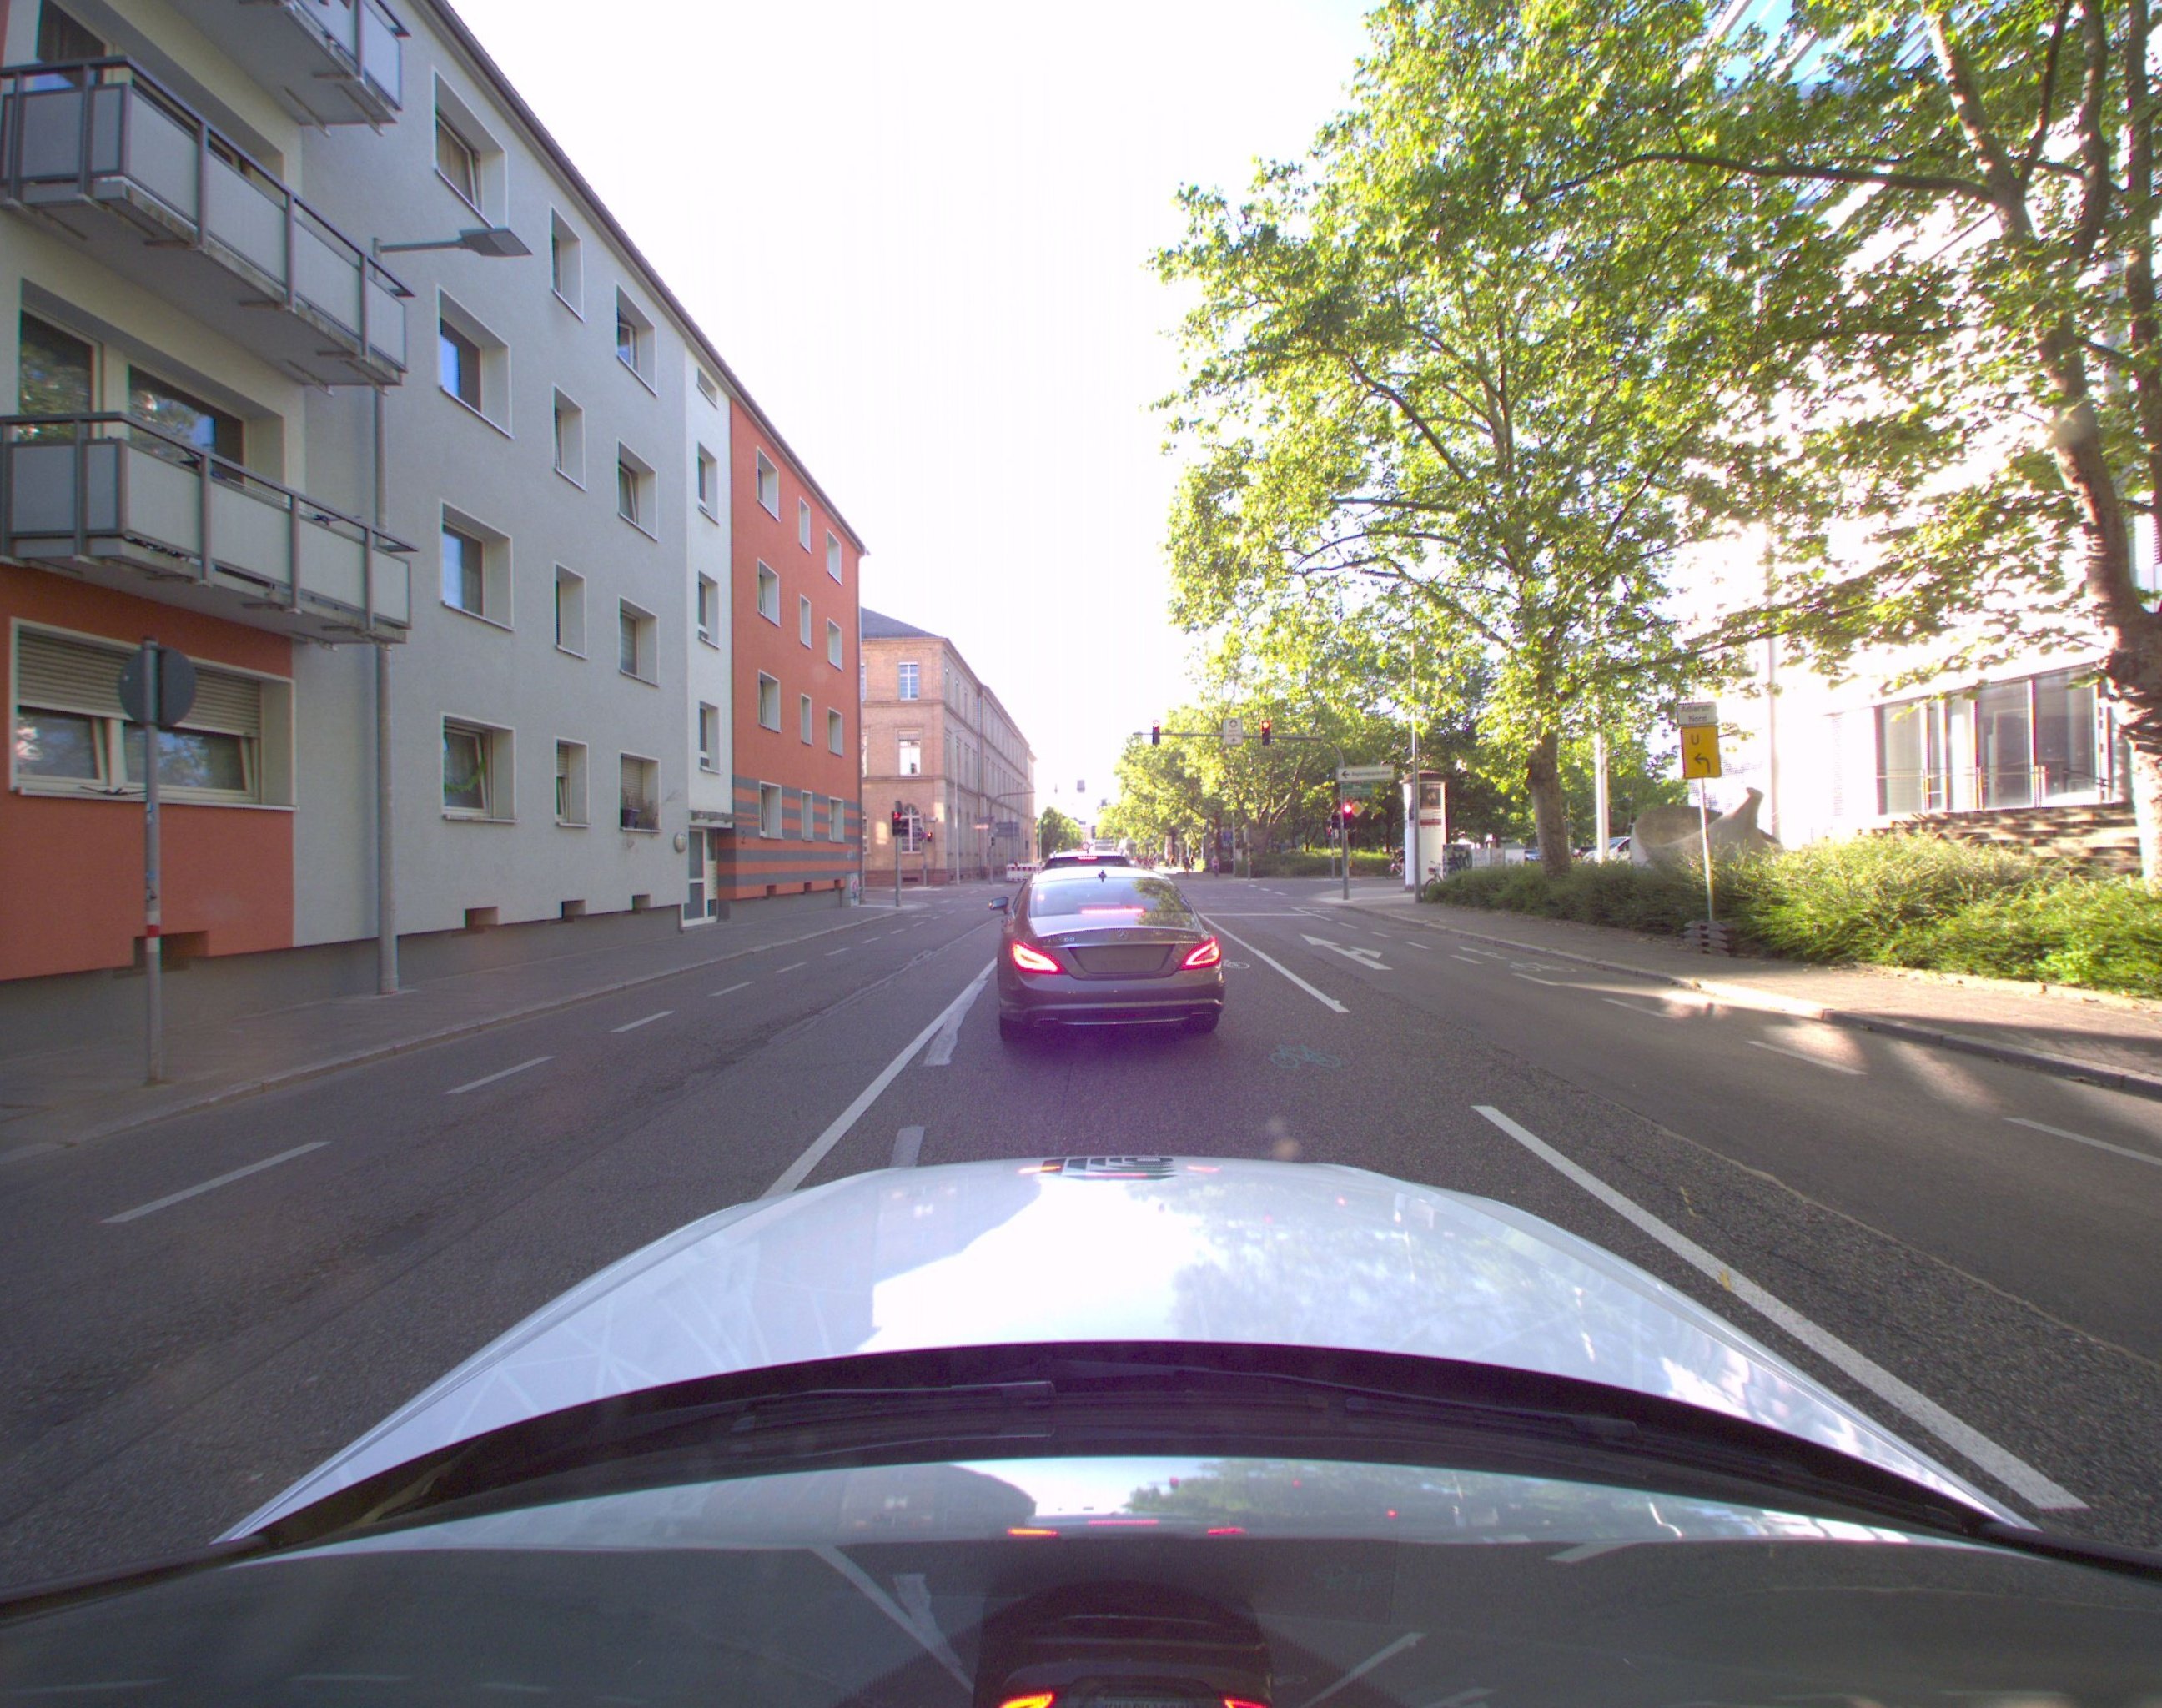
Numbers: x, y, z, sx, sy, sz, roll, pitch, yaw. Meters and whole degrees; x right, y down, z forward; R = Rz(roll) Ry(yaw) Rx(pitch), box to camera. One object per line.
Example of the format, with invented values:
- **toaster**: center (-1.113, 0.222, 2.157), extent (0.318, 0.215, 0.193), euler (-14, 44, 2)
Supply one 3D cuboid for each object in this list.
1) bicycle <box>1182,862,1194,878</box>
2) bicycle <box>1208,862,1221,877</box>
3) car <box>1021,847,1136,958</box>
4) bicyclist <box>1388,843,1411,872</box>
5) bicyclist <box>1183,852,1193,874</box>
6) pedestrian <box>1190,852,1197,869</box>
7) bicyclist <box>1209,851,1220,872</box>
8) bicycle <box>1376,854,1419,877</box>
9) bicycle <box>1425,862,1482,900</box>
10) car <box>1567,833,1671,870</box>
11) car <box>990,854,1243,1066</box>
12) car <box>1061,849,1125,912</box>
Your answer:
- **bicycle**: center (7.442, 1.110, 56.631), extent (0.608, 1.026, 1.732), euler (0, 0, 2)
- **bicycle**: center (9.258, 1.045, 56.461), extent (0.598, 0.985, 1.882), euler (1, 0, 2)
- **car**: center (-0.017, 0.729, 14.033), extent (1.676, 1.625, 3.841), euler (-1, 0, 0)
- **bicyclist**: center (17.458, 0.206, 44.675), extent (0.813, 1.553, 0.883), euler (-1, 0, -8)
- **bicyclist**: center (7.441, 0.588, 56.576), extent (0.608, 1.516, 0.890), euler (0, 0, 1)
- **pedestrian**: center (10.999, 0.626, 79.746), extent (0.557, 1.678, 0.565), euler (-1, 0, 1)
- **bicyclist**: center (9.254, 0.519, 56.420), extent (0.598, 1.402, 0.931), euler (1, 0, 1)
- **bicycle**: center (17.350, 0.613, 44.657), extent (1.996, 1.185, 0.883), euler (-1, 0, -8)
- **bicycle**: center (10.799, 0.778, 23.624), extent (1.411, 1.037, 0.538), euler (-1, 0, -2)
- **car**: center (27.594, -0.108, 41.884), extent (3.976, 1.784, 2.004), euler (-1, 0, 6)
- **car**: center (0.083, 0.765, 8.038), extent (1.818, 1.476, 4.345), euler (-1, 0, -5)
- **car**: center (0.332, 0.714, 23.607), extent (1.676, 1.625, 3.841), euler (-1, 0, 0)
